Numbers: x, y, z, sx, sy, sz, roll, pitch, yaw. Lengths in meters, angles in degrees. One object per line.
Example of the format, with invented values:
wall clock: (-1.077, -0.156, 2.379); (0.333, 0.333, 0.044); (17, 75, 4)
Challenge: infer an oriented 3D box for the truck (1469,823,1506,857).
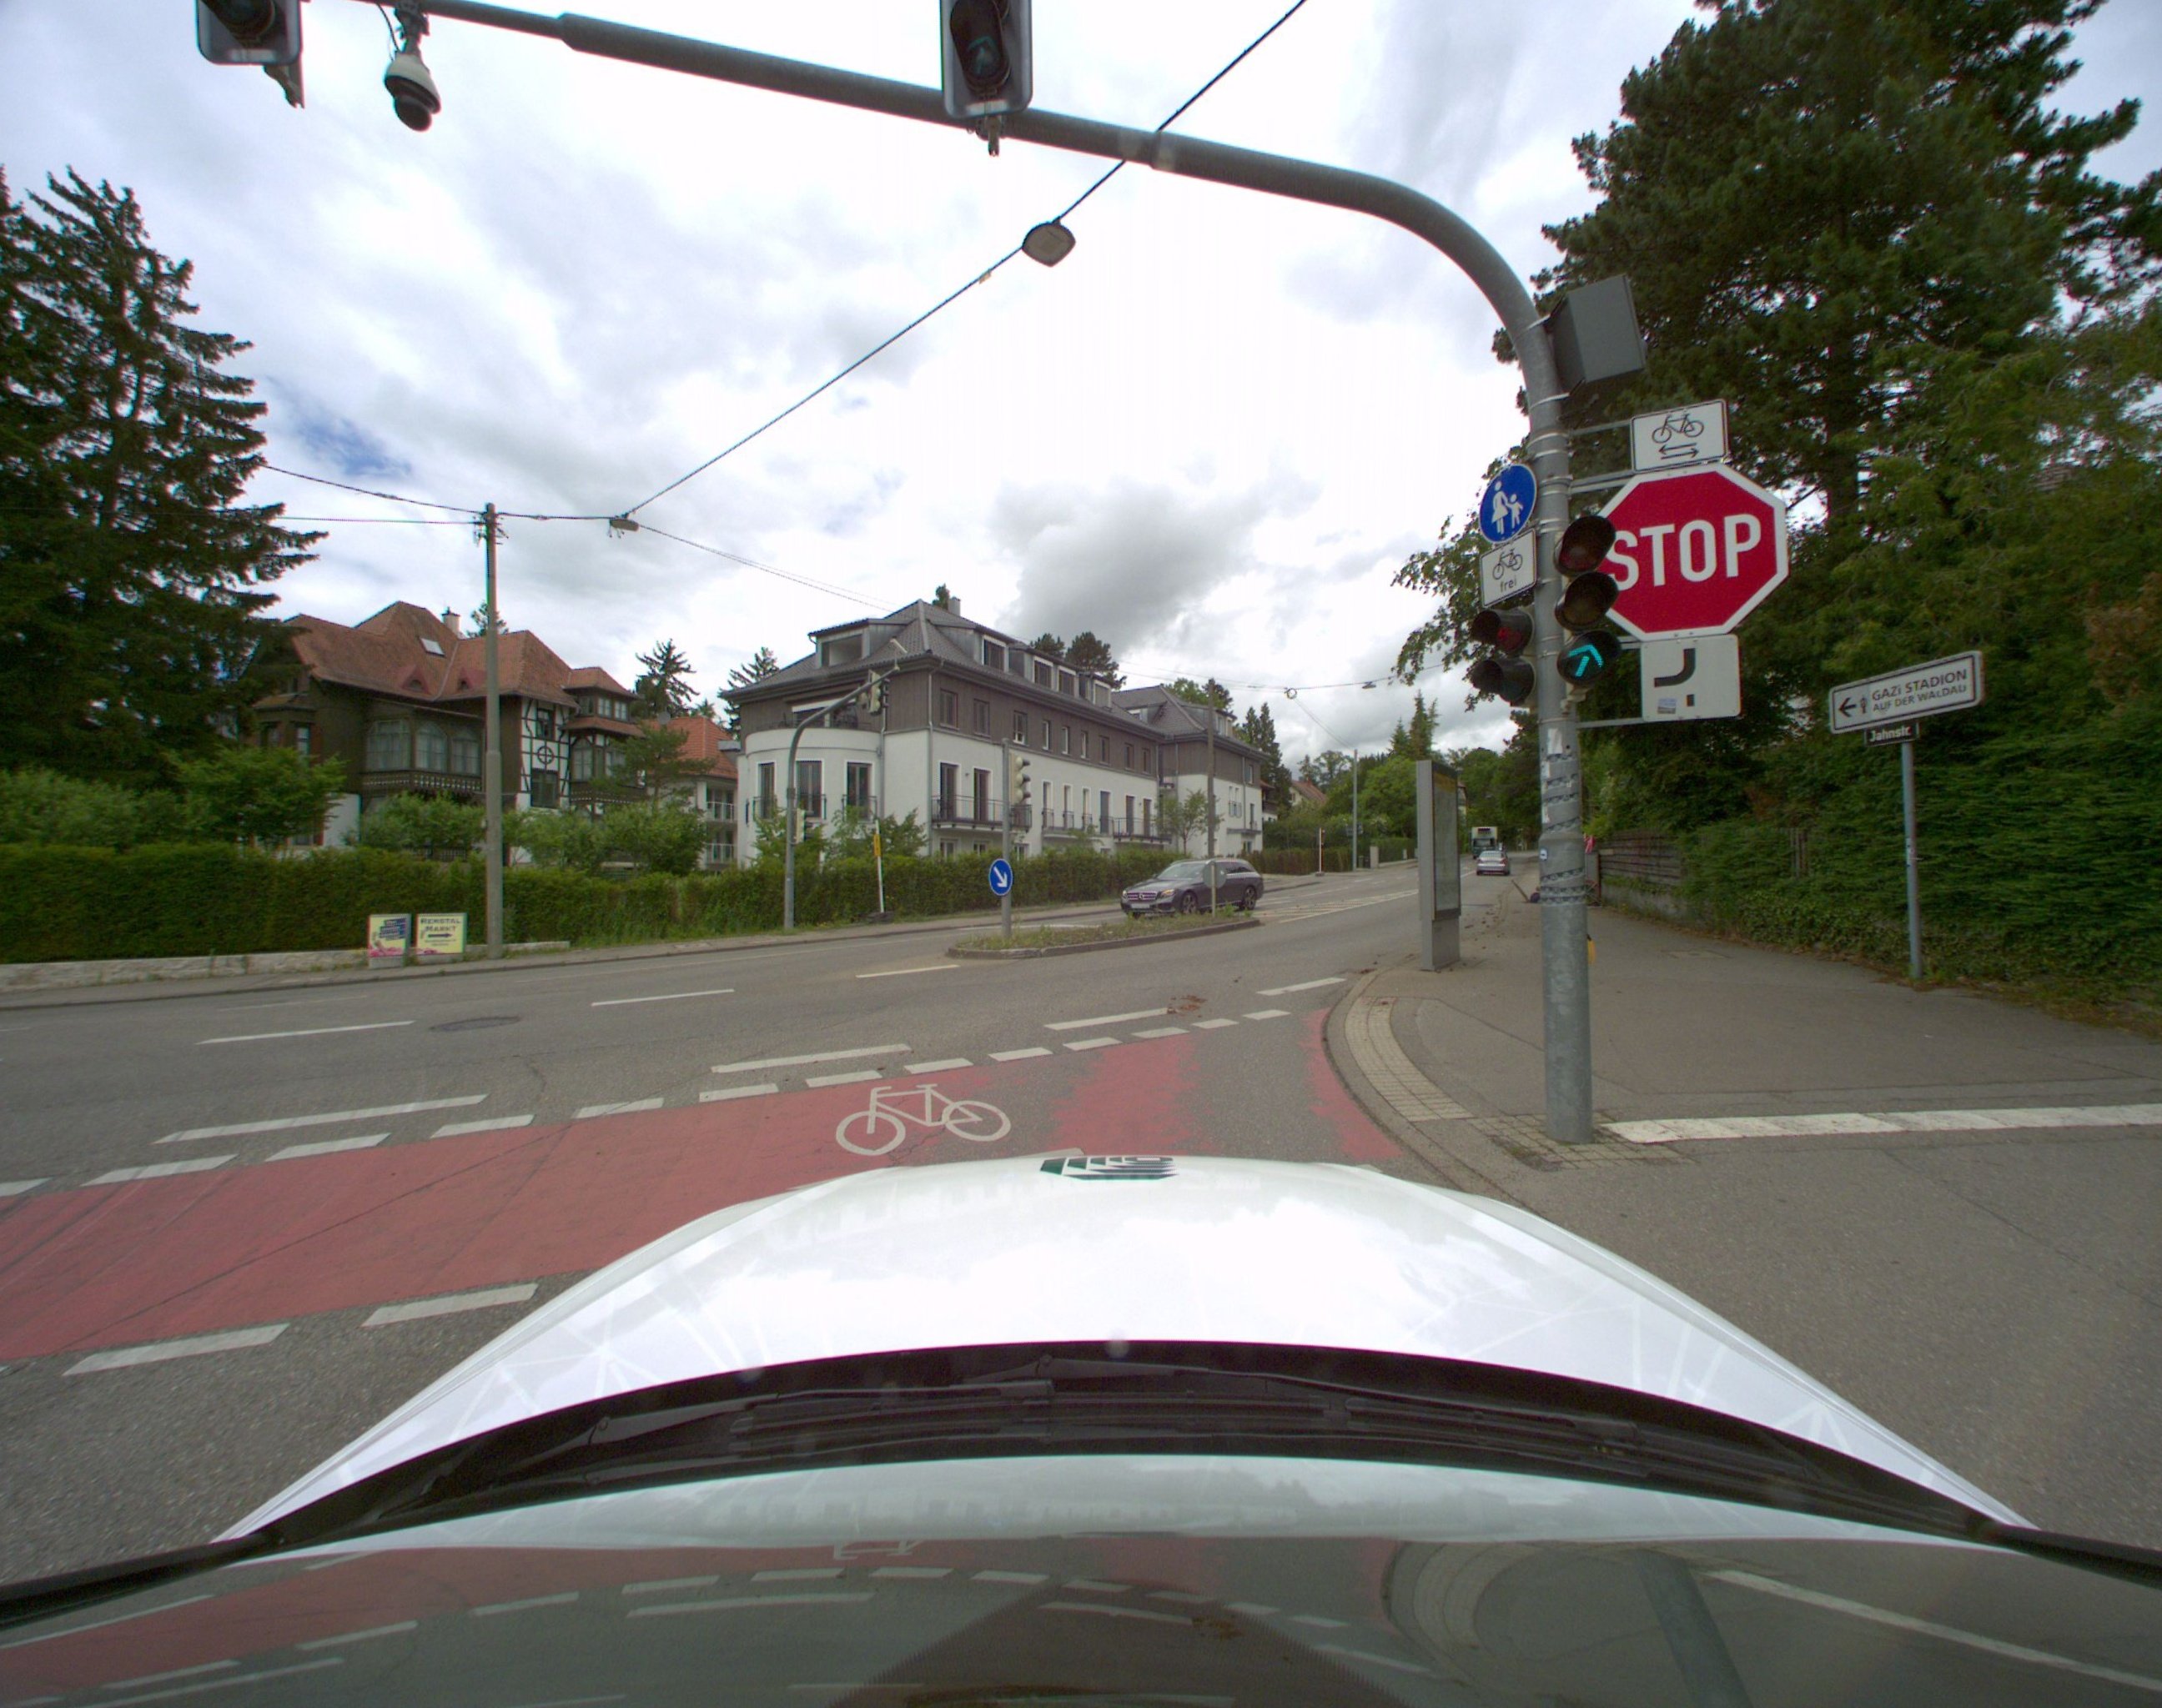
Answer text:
truck: (45.405, -1.492, 91.177); (2.754, 3.461, 7.530); (-1, -1, 20)

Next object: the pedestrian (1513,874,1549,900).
pedestrian: (12.553, 0.916, 22.728); (0.645, 0.696, 0.583); (-2, 0, -11)

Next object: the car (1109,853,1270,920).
car: (3.018, 0.801, 21.834); (1.808, 1.485, 4.777); (-3, -1, 42)

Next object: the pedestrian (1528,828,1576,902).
pedestrian: (12.471, 0.287, 21.590); (0.840, 1.923, 0.803); (-2, 0, 10)

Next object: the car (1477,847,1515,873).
car: (24.454, 0.353, 47.951); (1.780, 1.415, 4.362); (-2, -1, 29)
